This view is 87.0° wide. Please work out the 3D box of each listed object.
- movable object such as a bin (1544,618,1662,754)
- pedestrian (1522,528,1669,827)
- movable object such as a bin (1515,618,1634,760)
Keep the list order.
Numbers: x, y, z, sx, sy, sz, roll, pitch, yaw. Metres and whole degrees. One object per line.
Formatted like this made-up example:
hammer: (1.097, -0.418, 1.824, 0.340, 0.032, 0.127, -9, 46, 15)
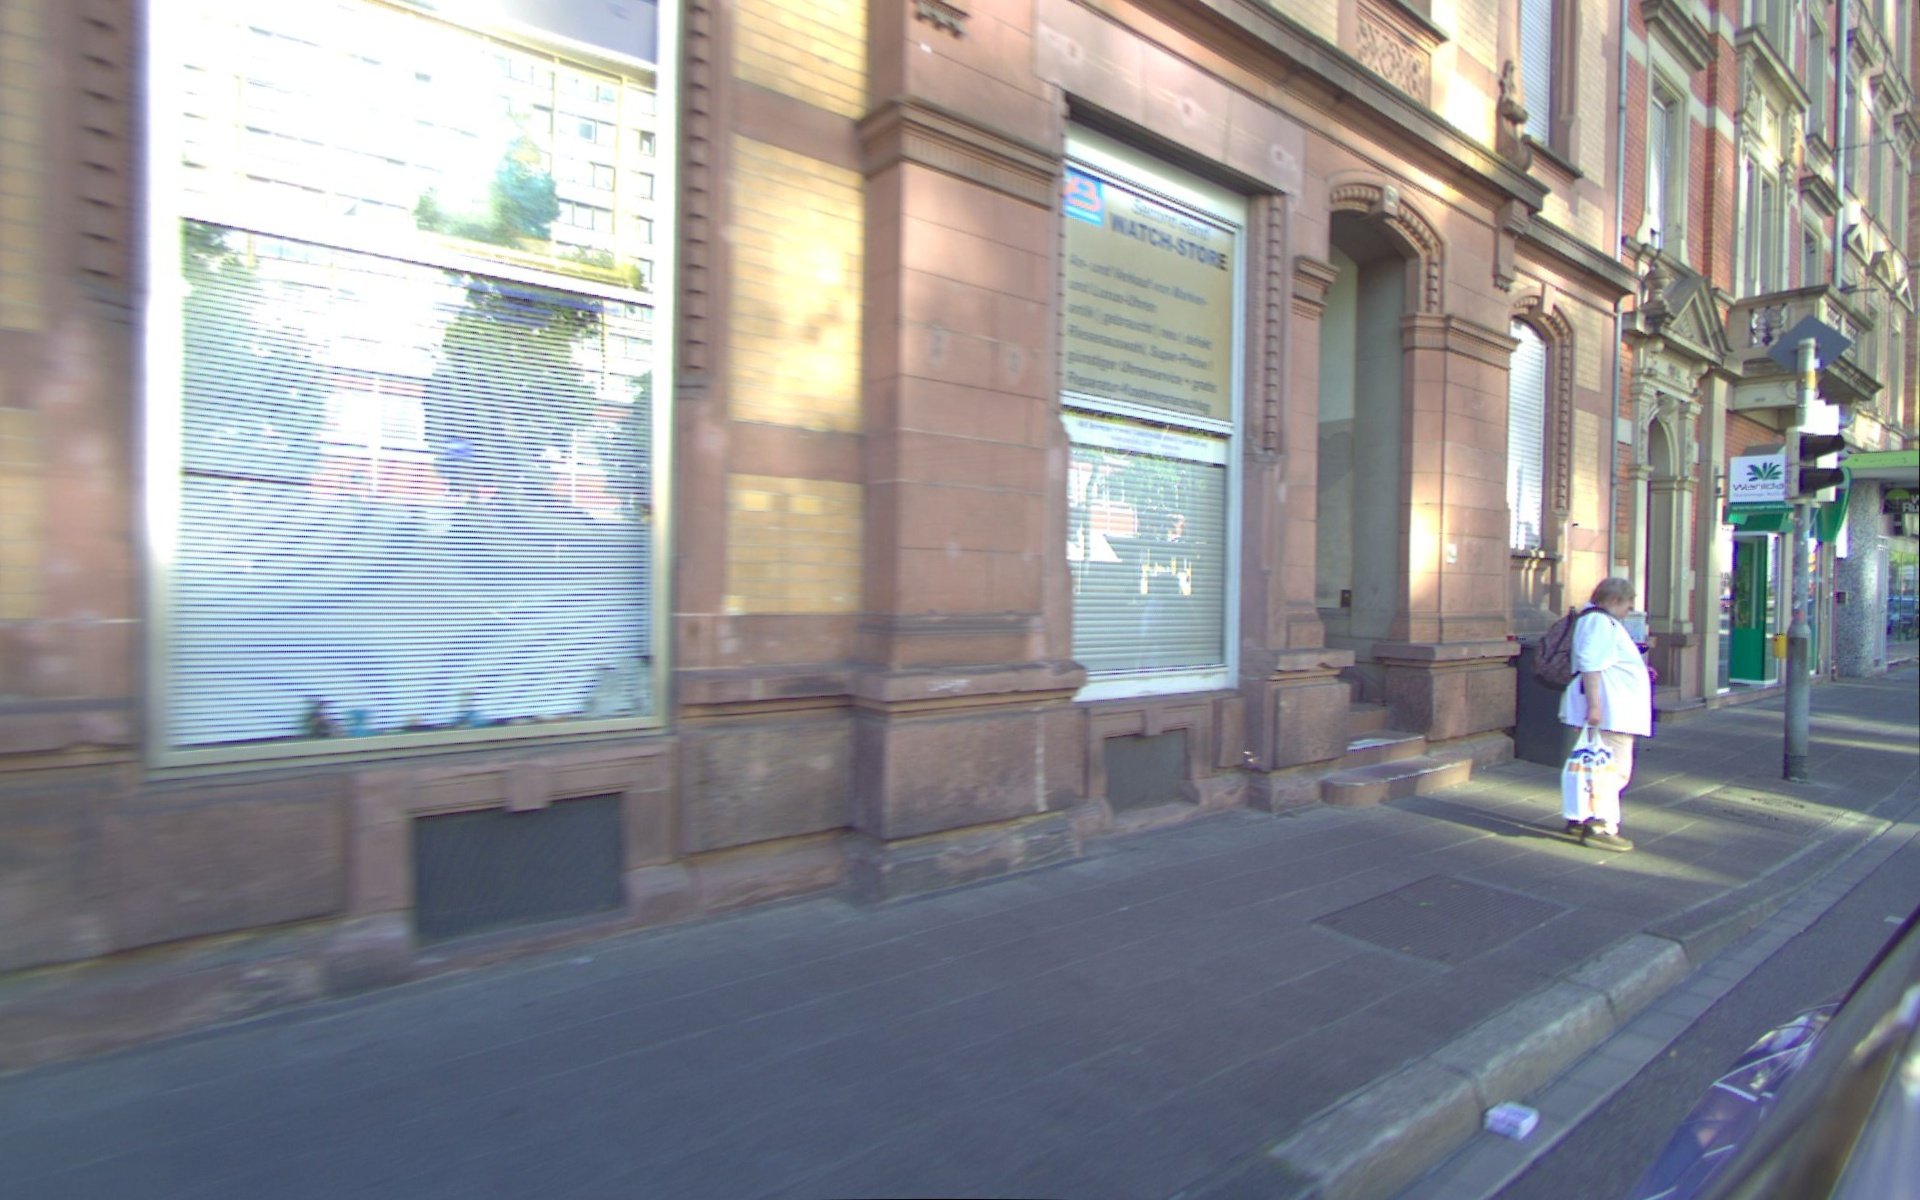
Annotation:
movable object such as a bin: (5.701, 0.734, 8.988, 0.580, 1.085, 0.665, -1, 4, -36)
pedestrian: (3.770, 0.408, 5.993, 0.679, 1.627, 0.722, 1, 2, 36)
movable object such as a bin: (5.242, 0.730, 8.646, 0.535, 1.085, 0.665, -1, 4, -36)
